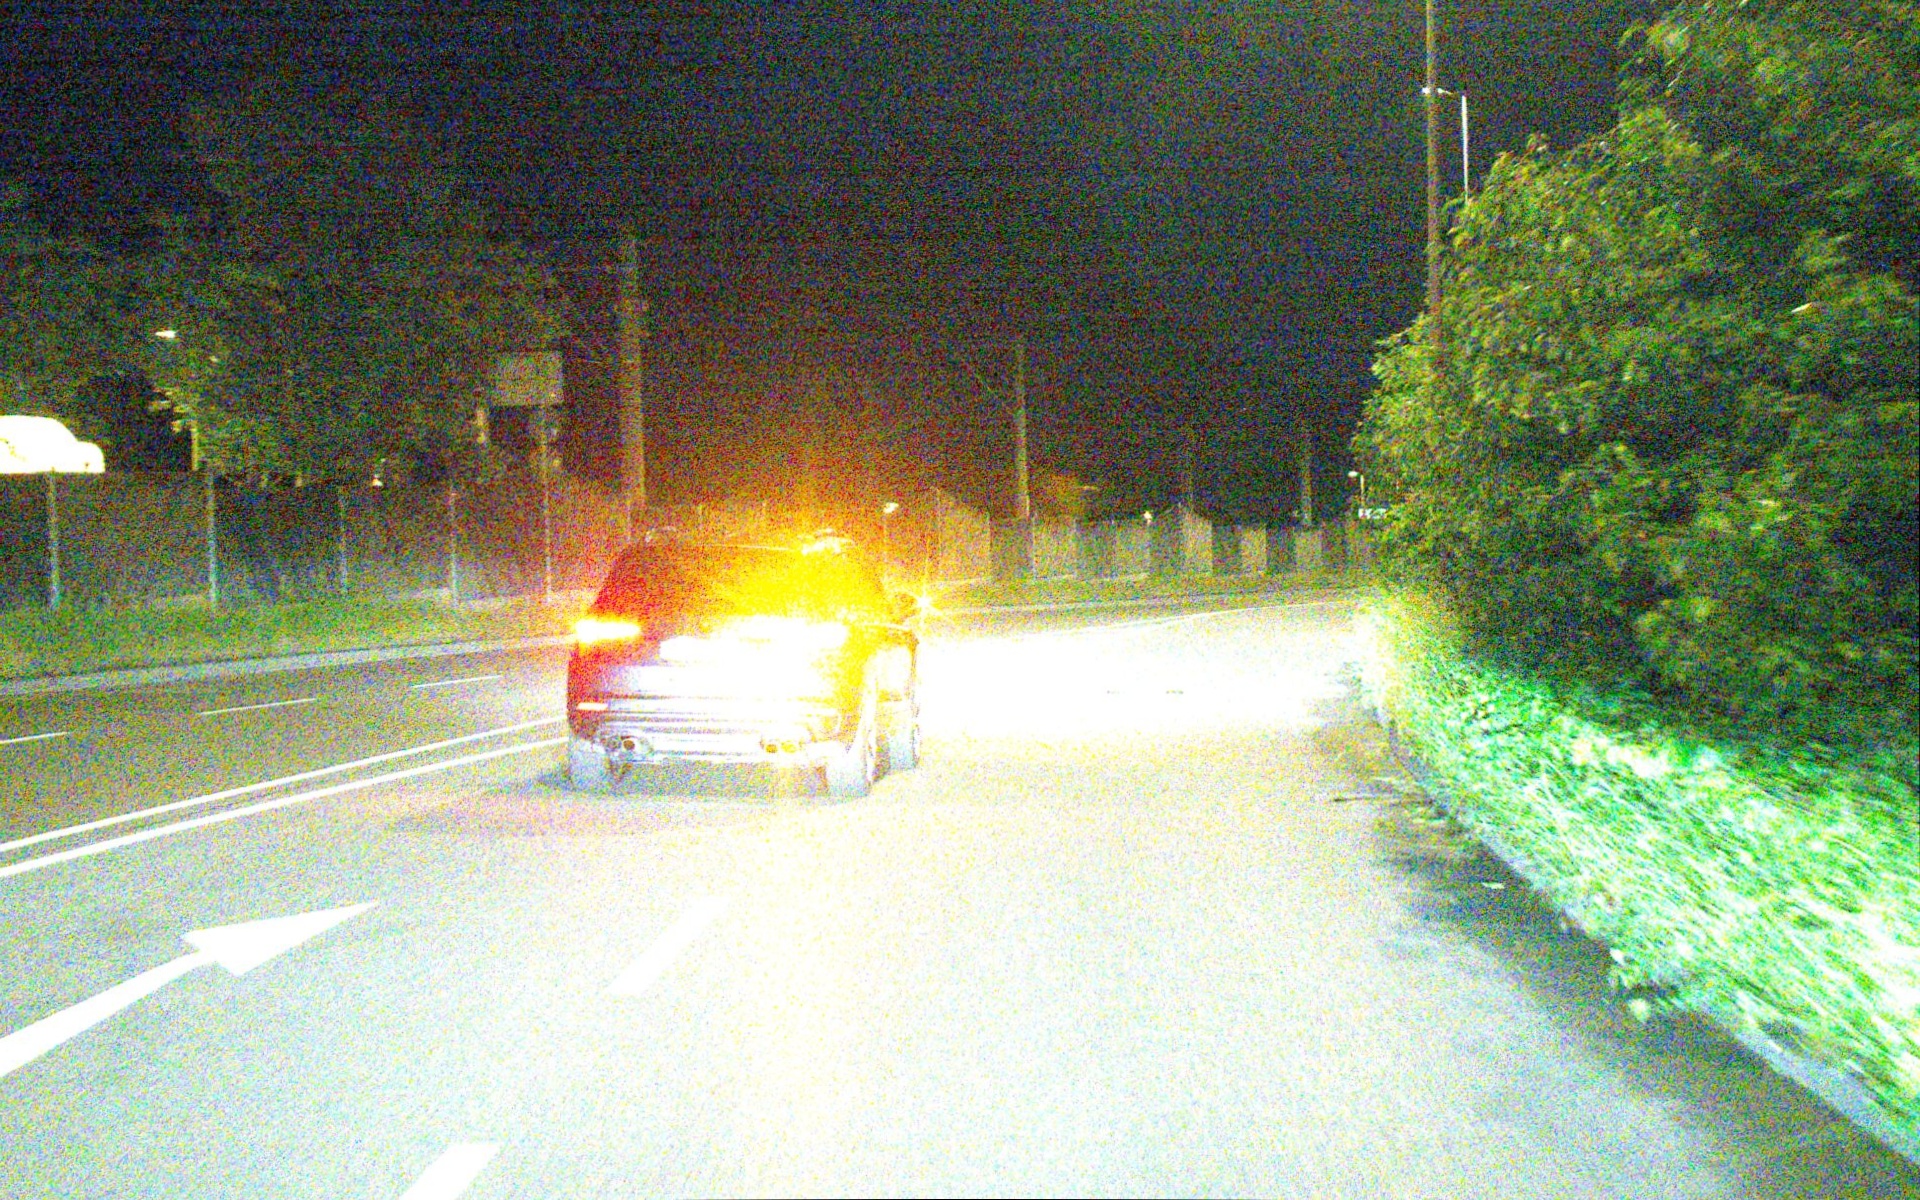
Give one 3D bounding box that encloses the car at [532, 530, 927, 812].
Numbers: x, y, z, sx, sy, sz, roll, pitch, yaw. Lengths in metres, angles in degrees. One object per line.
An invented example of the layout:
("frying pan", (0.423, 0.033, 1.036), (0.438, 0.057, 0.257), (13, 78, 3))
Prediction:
("car", (-1.344, 0.369, 21.634), (1.815, 1.568, 3.943), (1, 1, 6))
